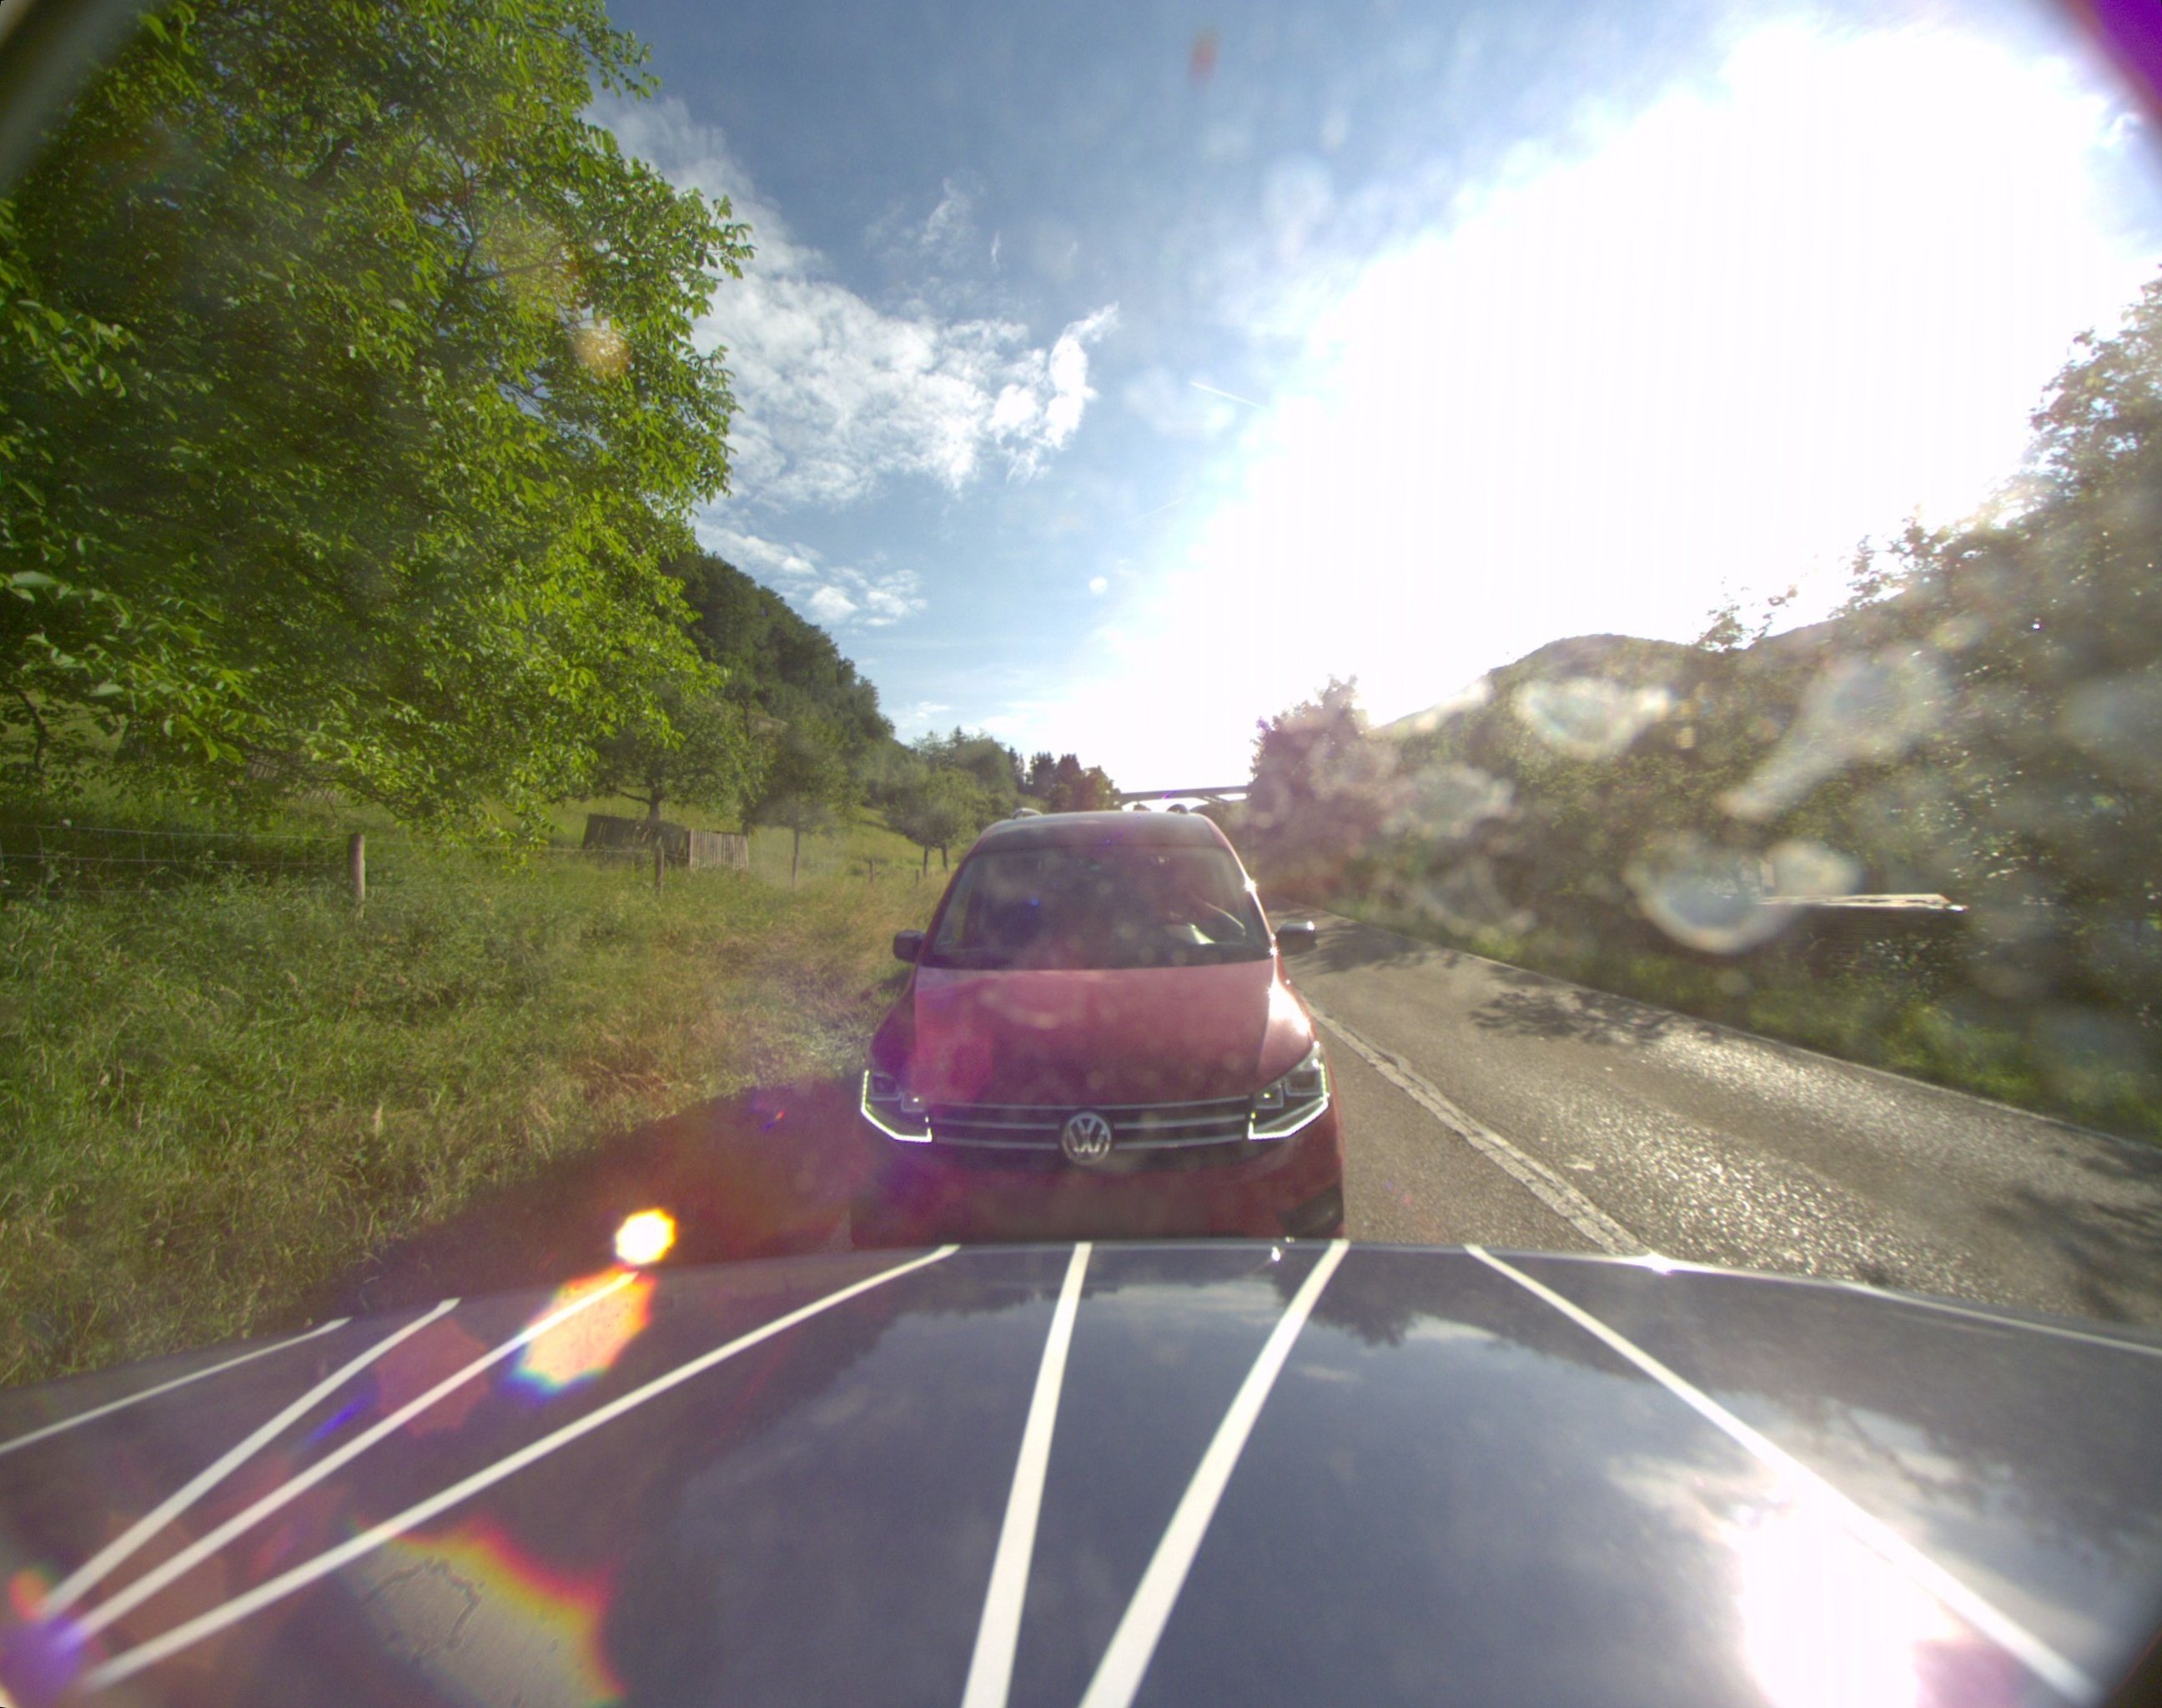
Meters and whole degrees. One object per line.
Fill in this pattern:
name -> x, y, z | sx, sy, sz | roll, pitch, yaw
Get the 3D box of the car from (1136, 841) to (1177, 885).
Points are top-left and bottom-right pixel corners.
car -> 3.603, 0.362, 36.437 | 1.758, 1.926, 4.001 | -2, 1, 5

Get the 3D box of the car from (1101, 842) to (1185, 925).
car -> 1.495, 0.612, 18.422 | 1.758, 1.745, 4.001 | -2, 1, 5

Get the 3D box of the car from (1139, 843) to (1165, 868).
car -> 5.932, 0.076, 64.041 | 1.998, 2.002, 4.000 | -2, 1, 4

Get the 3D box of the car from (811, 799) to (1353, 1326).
car -> 0.140, 0.693, 4.761 | 1.759, 1.745, 4.430 | -2, 1, 4

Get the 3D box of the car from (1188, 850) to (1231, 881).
car -> 6.510, 0.536, 38.843 | 1.708, 1.422, 4.051 | -2, 1, 4

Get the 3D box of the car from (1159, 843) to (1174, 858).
car -> 12.039, -0.534, 106.588 | 1.997, 2.002, 4.001 | -2, 1, 6
